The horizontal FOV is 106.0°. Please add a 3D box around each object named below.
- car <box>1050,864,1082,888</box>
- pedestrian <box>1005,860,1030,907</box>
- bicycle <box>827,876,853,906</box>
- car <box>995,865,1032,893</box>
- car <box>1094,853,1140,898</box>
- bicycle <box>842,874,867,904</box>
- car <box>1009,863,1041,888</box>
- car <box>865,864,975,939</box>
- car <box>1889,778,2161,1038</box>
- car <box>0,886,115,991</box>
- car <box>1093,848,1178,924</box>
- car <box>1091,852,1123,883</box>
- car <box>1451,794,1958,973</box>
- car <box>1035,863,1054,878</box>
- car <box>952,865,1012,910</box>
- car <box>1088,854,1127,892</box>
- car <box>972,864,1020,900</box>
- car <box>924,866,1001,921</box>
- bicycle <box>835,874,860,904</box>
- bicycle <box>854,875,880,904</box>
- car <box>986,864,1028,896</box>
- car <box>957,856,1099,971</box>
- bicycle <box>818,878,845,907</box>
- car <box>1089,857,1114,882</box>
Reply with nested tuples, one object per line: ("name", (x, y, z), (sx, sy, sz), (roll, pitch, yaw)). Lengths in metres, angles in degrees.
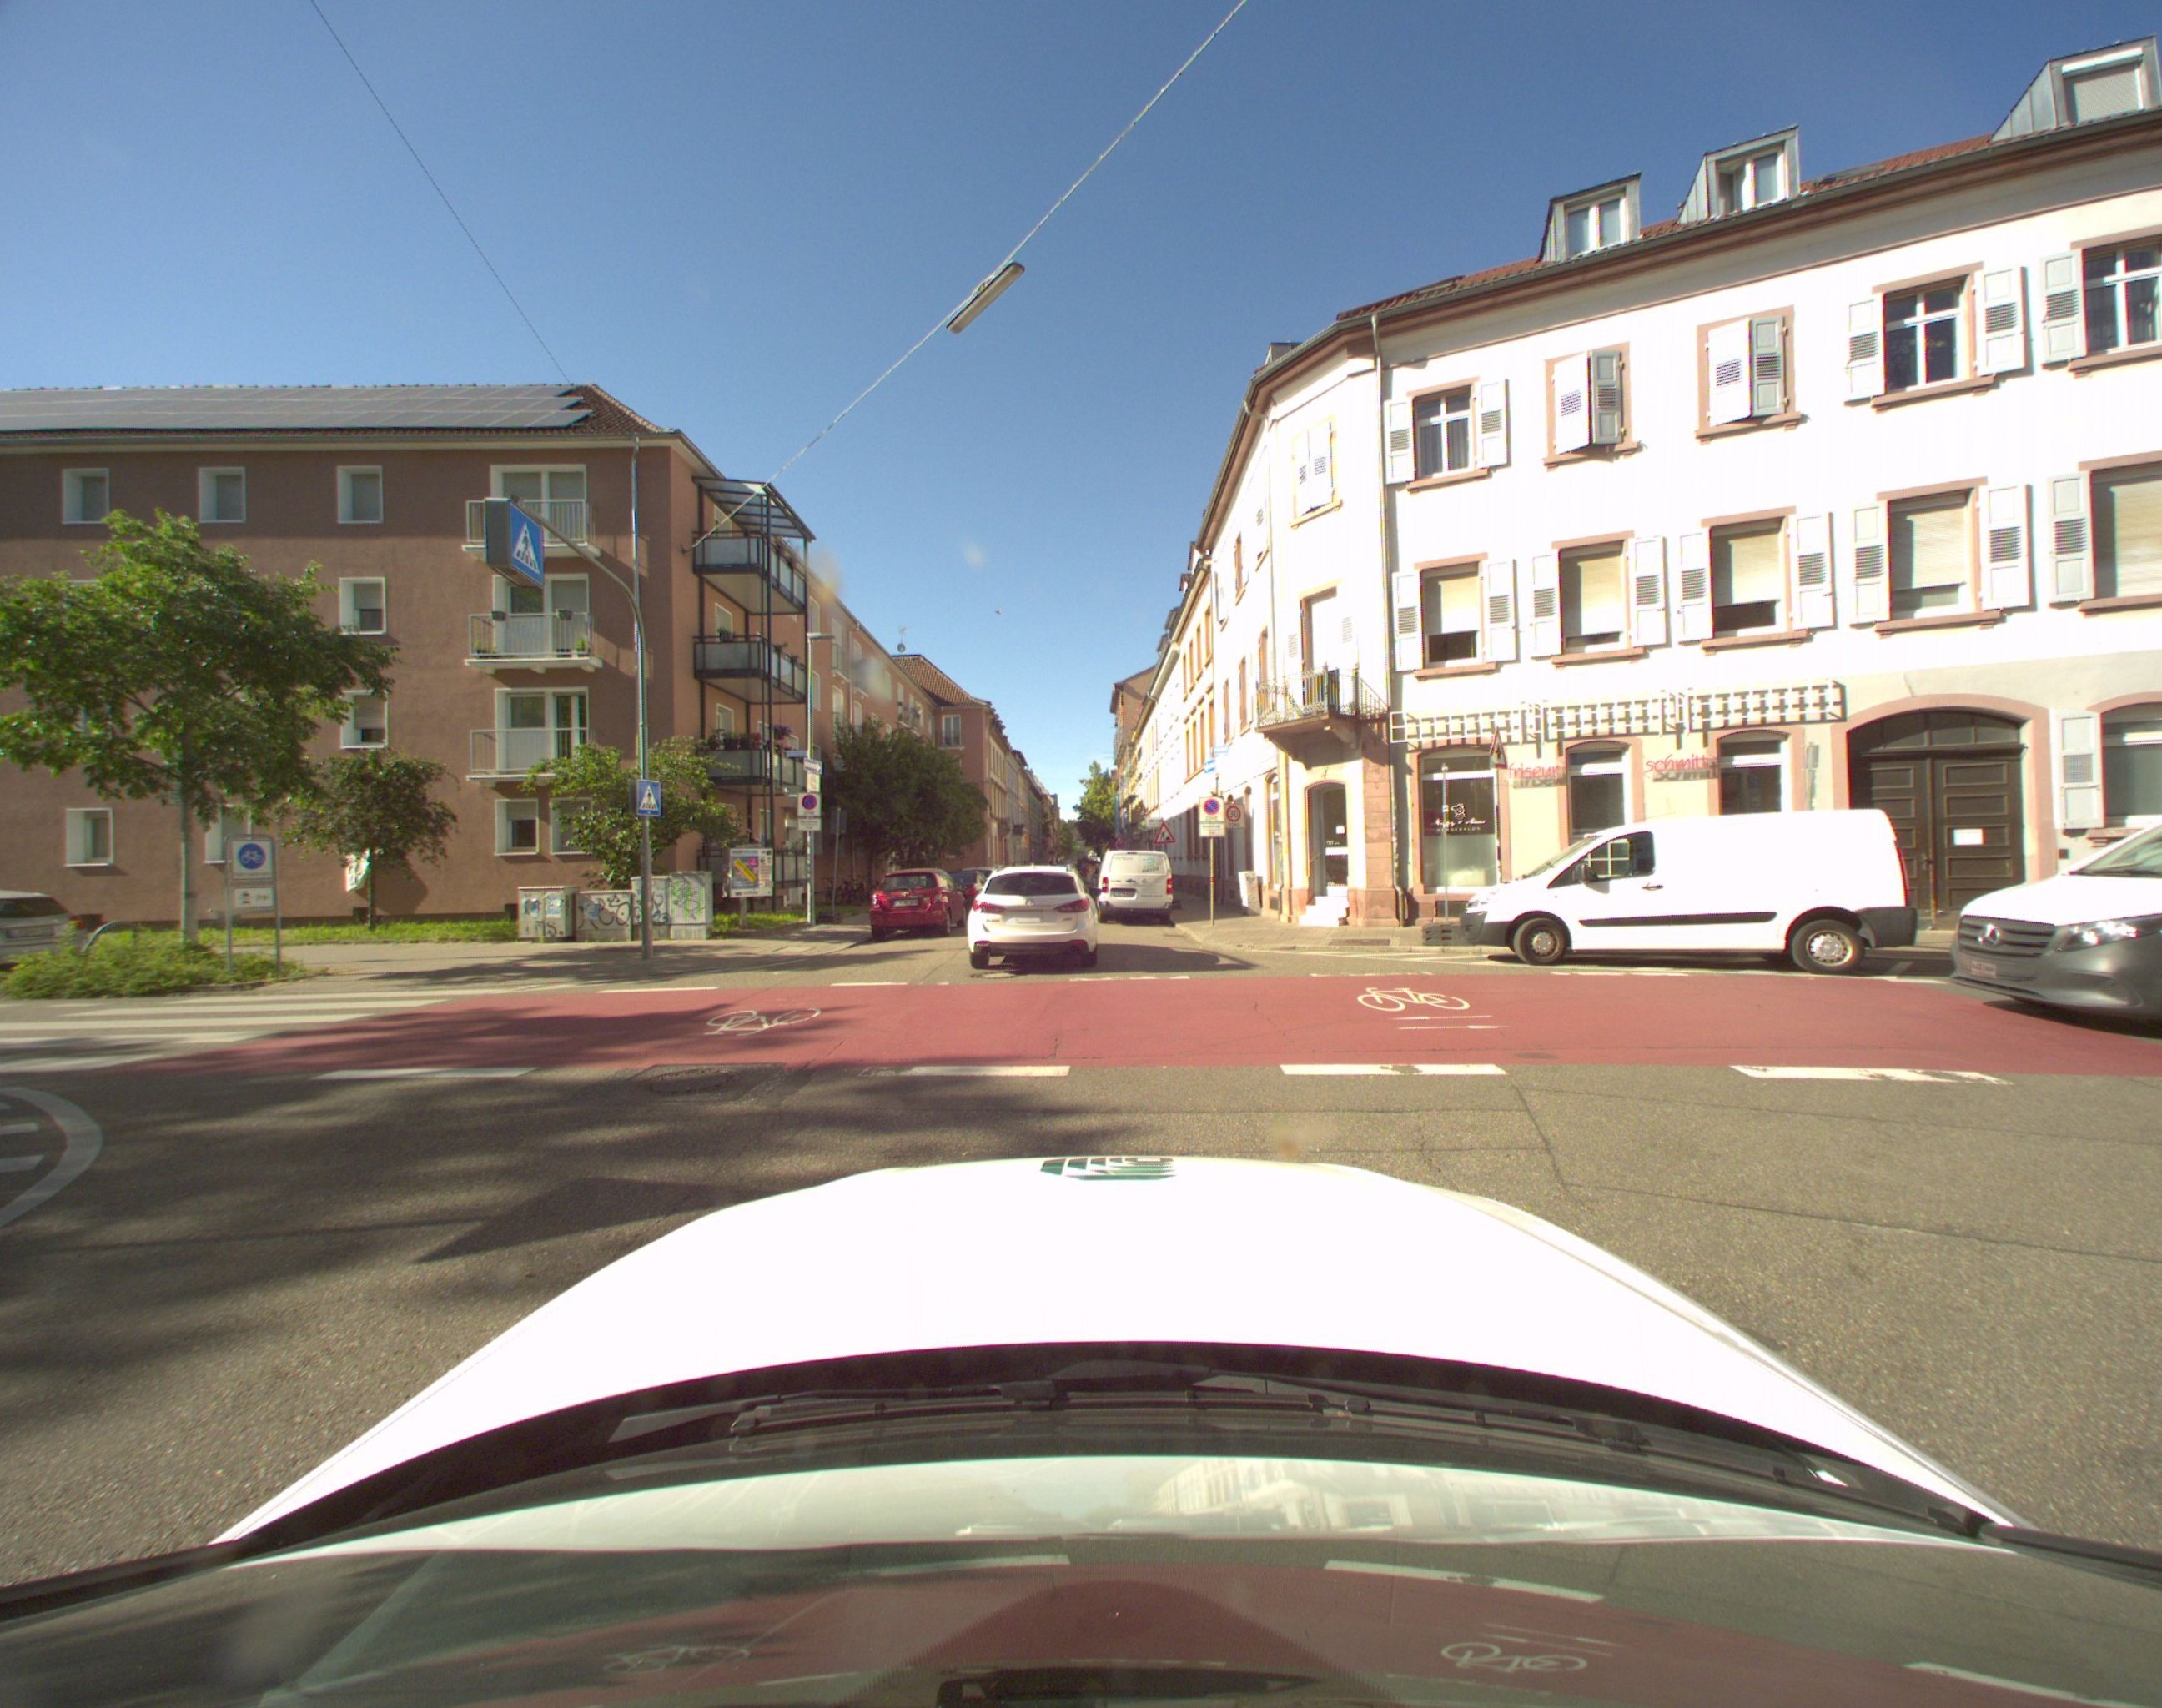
("car", (-0.903, 1.352, 50.761), (1.754, 1.410, 4.328), (-1, -1, 1))
("pedestrian", (-2.240, 1.028, 28.676), (0.733, 1.614, 0.813), (-2, -1, -11))
("bicycle", (-8.828, 1.344, 29.761), (1.201, 1.072, 0.268), (-2, -1, 40))
("car", (-3.762, 1.382, 45.963), (1.647, 1.500, 3.763), (-1, -1, 1))
("car", (1.566, 0.919, 36.549), (1.888, 1.859, 3.995), (-1, -1, 1))
("bicycle", (-8.420, 1.293, 30.261), (1.201, 1.071, 0.255), (-2, -1, 40))
("car", (-3.501, 1.350, 51.546), (1.647, 1.500, 3.763), (-1, -1, 1))
("car", (-3.639, 1.020, 19.091), (1.679, 1.500, 3.807), (-3, -1, 1))
("car", (10.331, 0.347, 6.323), (5.364, 1.907, 2.117), (-1, -1, 17))
("car", (-17.477, 1.277, 12.084), (4.129, 1.454, 1.745), (-2, -1, -1))
("car", (1.380, 0.819, 22.611), (1.889, 1.859, 5.010), (1, -1, -1))
("car", (1.742, 0.866, 53.810), (1.888, 1.859, 3.996), (-5, -1, 1))
("car", (7.680, 0.382, 10.824), (4.963, 1.946, 2.063), (-2, -1, 25))
("car", (-3.674, 1.663, 82.112), (1.647, 1.500, 3.763), (-1, -1, 1))
("car", (-3.590, 1.193, 30.117), (1.647, 1.500, 3.763), (-1, -1, 1))
("car", (1.348, 0.946, 41.820), (1.888, 1.859, 3.995), (-1, -1, 1))
("car", (-3.798, 1.221, 36.747), (1.647, 1.500, 3.763), (-1, -1, 1))
("car", (-3.564, 1.139, 25.101), (1.647, 1.500, 4.080), (-1, -1, 1))
("bicycle", (-8.617, 1.297, 30.021), (1.201, 1.071, 0.255), (-2, -1, 40))
("bicycle", (-7.969, 1.313, 30.321), (1.204, 1.071, 0.255), (-2, -1, 40))
("car", (-3.704, 1.305, 41.318), (1.647, 1.500, 3.763), (-1, -1, 1))
("car", (-0.656, 0.829, 12.626), (1.824, 1.457, 3.962), (-1, -2, 1))
("bicycle", (-9.038, 1.381, 29.510), (1.201, 1.035, 0.293), (-2, -1, 40))
("car", (1.594, 1.177, 63.996), (1.888, 1.859, 3.995), (-1, -1, 1))
